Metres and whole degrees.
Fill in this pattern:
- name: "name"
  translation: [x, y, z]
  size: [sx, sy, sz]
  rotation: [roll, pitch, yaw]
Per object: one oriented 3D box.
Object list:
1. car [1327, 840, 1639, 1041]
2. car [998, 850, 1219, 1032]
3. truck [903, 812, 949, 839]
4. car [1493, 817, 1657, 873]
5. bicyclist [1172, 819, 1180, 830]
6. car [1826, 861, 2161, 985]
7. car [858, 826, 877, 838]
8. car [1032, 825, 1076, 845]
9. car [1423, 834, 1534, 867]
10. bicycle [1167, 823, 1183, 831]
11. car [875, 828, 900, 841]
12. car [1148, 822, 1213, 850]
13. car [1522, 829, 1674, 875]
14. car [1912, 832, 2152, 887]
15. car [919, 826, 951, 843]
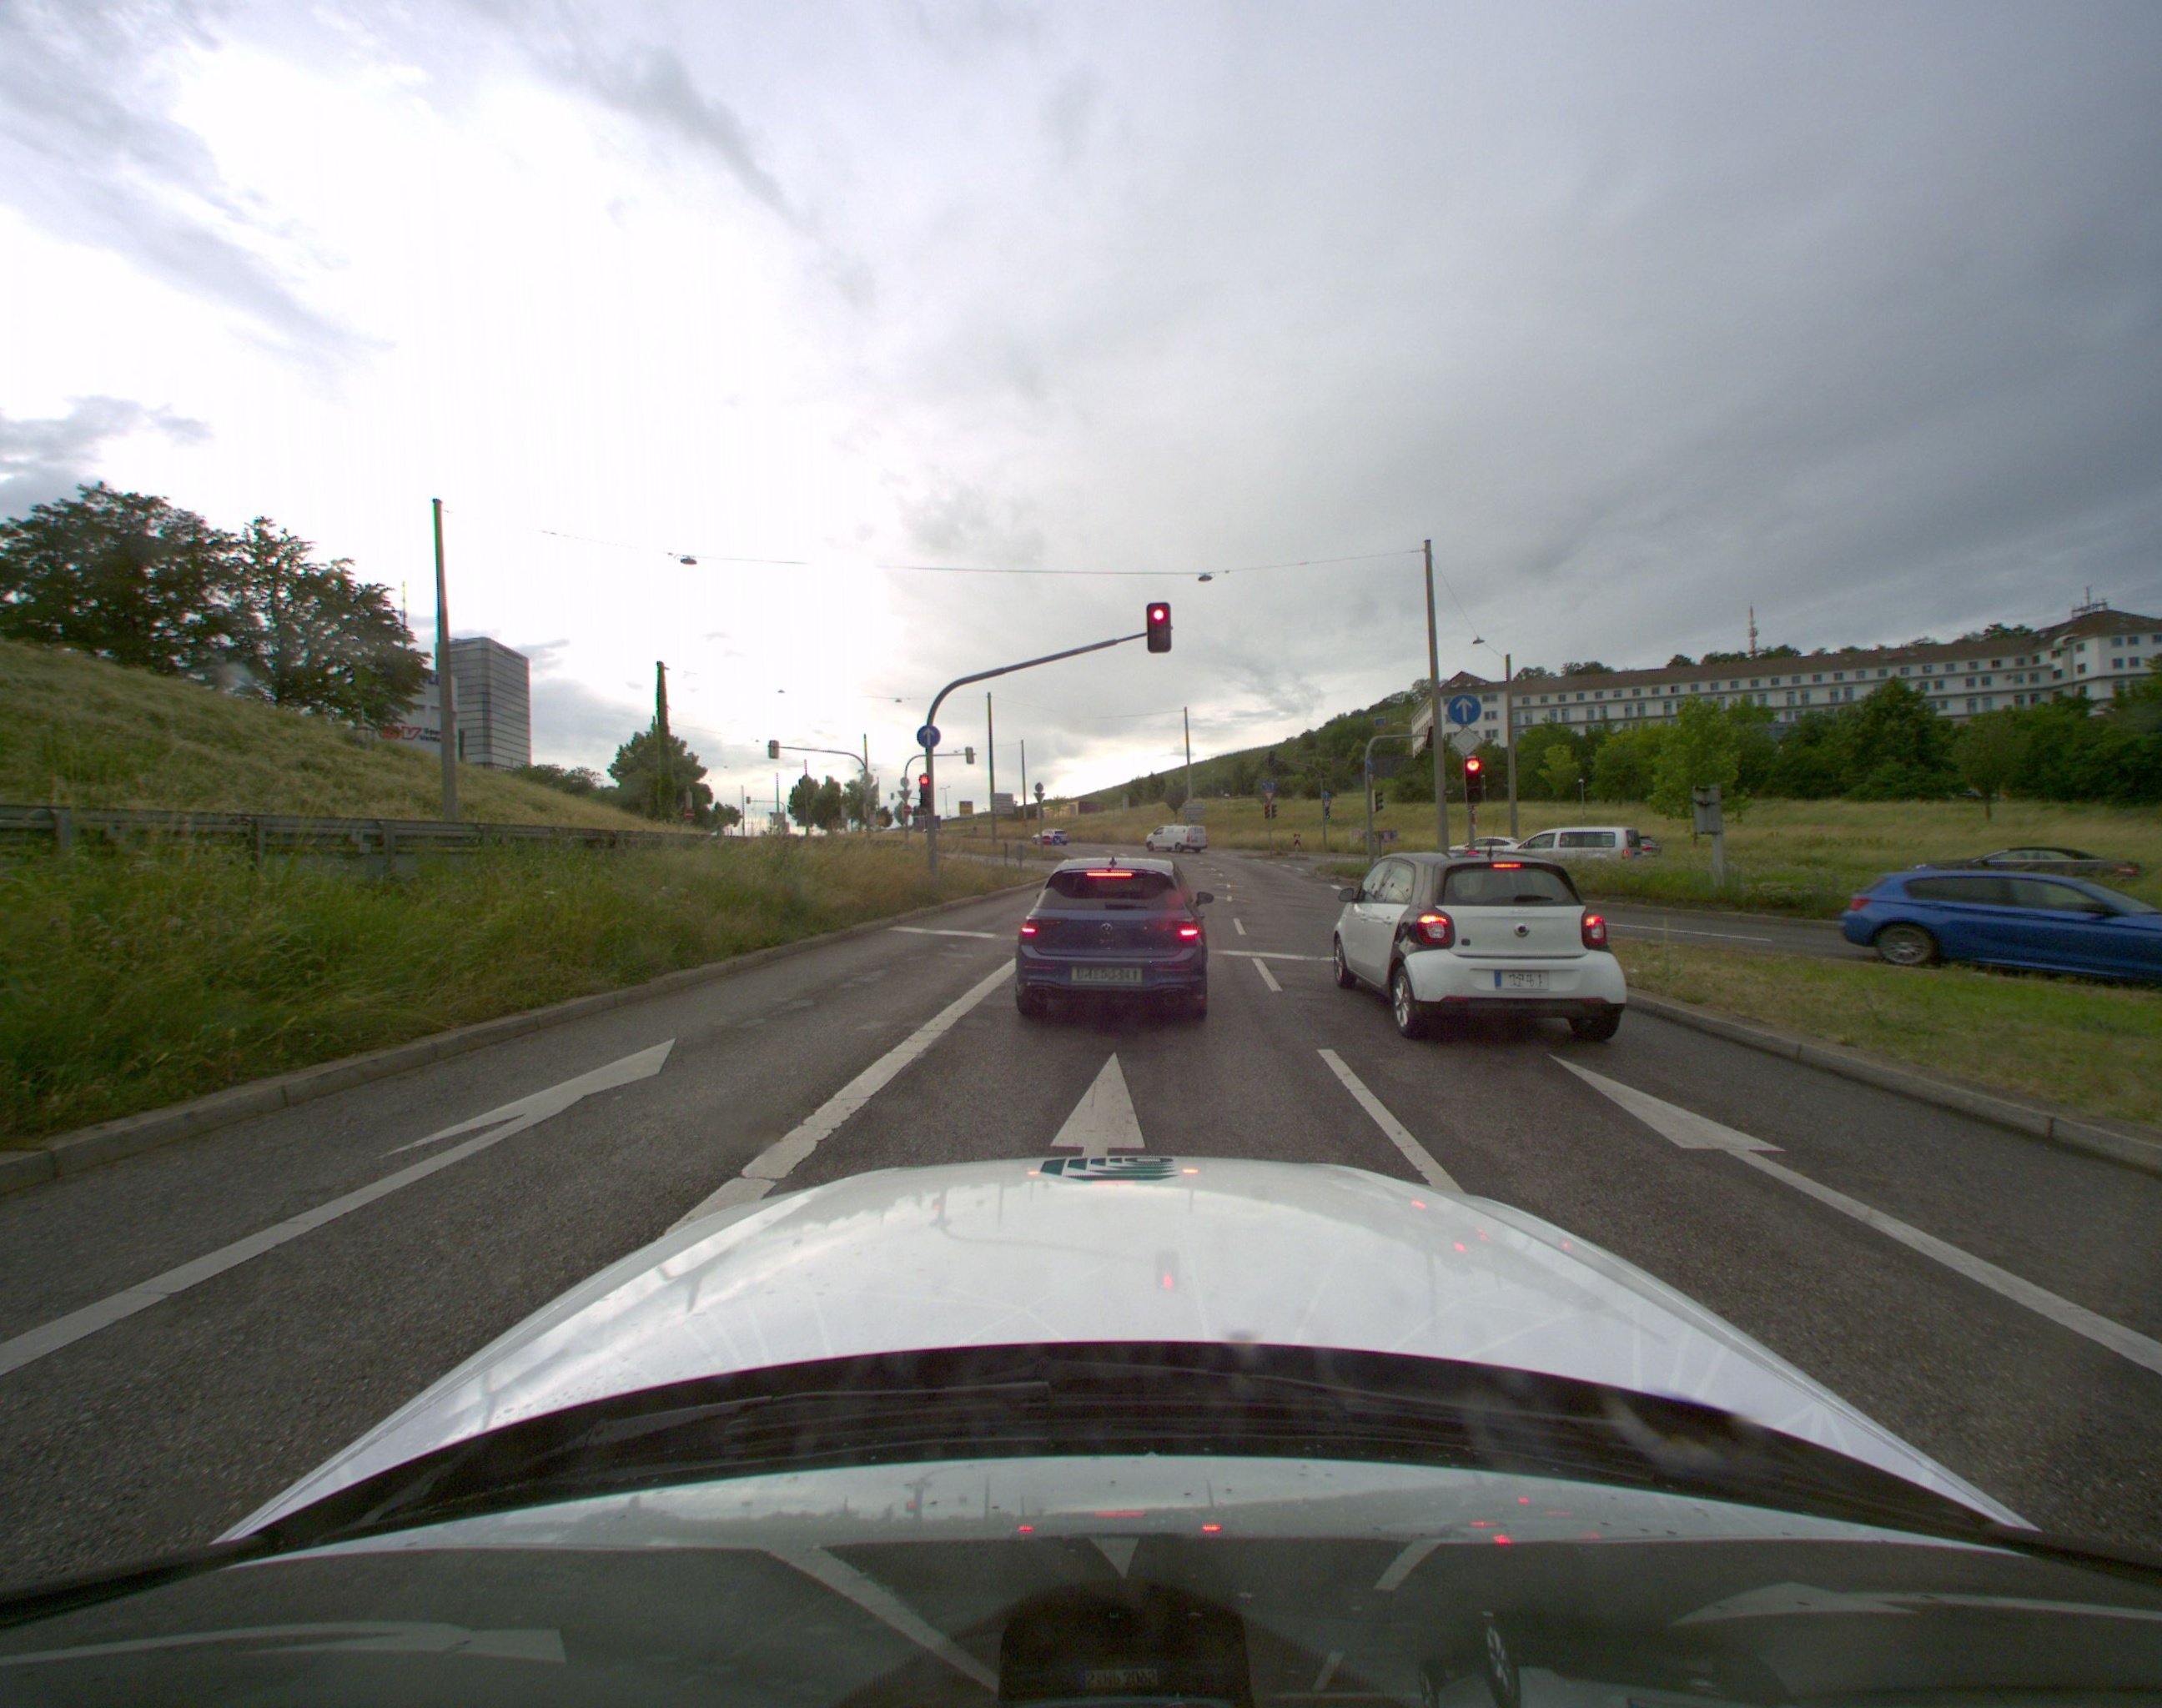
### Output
- name: "car"
  translation: [3.557, 0.670, 7.915]
  size: [1.649, 1.503, 3.457]
  rotation: [-1, -1, 7]
- name: "car"
  translation: [0.431, 0.705, 8.622]
  size: [1.816, 1.460, 3.815]
  rotation: [0, 1, 6]
- name: "truck"
  translation: [-18.989, -3.517, 99.751]
  size: [3.281, 3.074, 6.112]
  rotation: [2, 0, -34]
- name: "car"
  translation: [17.446, -0.262, 28.930]
  size: [1.831, 1.850, 4.642]
  rotation: [0, -1, -41]
- name: "bicyclist"
  translation: [9.180, -2.872, 78.784]
  size: [0.527, 1.046, 0.574]
  rotation: [2, 0, -39]
- name: "car"
  translation: [13.212, 0.847, 11.068]
  size: [1.706, 1.475, 4.251]
  rotation: [0, -1, -30]
- name: "car"
  translation: [-33.502, -3.438, 127.704]
  size: [2.005, 1.659, 4.503]
  rotation: [0, -1, -28]
- name: "car"
  translation: [-2.518, -1.737, 75.121]
  size: [2.007, 1.659, 4.498]
  rotation: [0, -1, -33]
- name: "car"
  translation: [18.915, -0.138, 38.944]
  size: [2.008, 1.477, 4.374]
  rotation: [0, -1, -34]
- name: "bicycle"
  translation: [9.088, -2.588, 78.878]
  size: [0.522, 0.775, 1.602]
  rotation: [2, 1, -40]
- name: "car"
  translation: [-26.948, -2.639, 113.564]
  size: [2.007, 1.659, 4.498]
  rotation: [0, -1, -33]
- name: "car"
  translation: [7.028, -1.240, 58.038]
  size: [2.144, 1.794, 4.691]
  rotation: [1, -1, -33]
- name: "car"
  translation: [19.538, -0.053, 30.961]
  size: [2.010, 1.620, 4.473]
  rotation: [0, -1, -39]
- name: "car"
  translation: [28.360, 0.170, 24.451]
  size: [2.007, 1.477, 4.456]
  rotation: [0, -1, -33]
- name: "car"
  translation: [-15.938, -2.071, 88.690]
  size: [2.007, 1.659, 4.308]
  rotation: [0, -1, -33]
